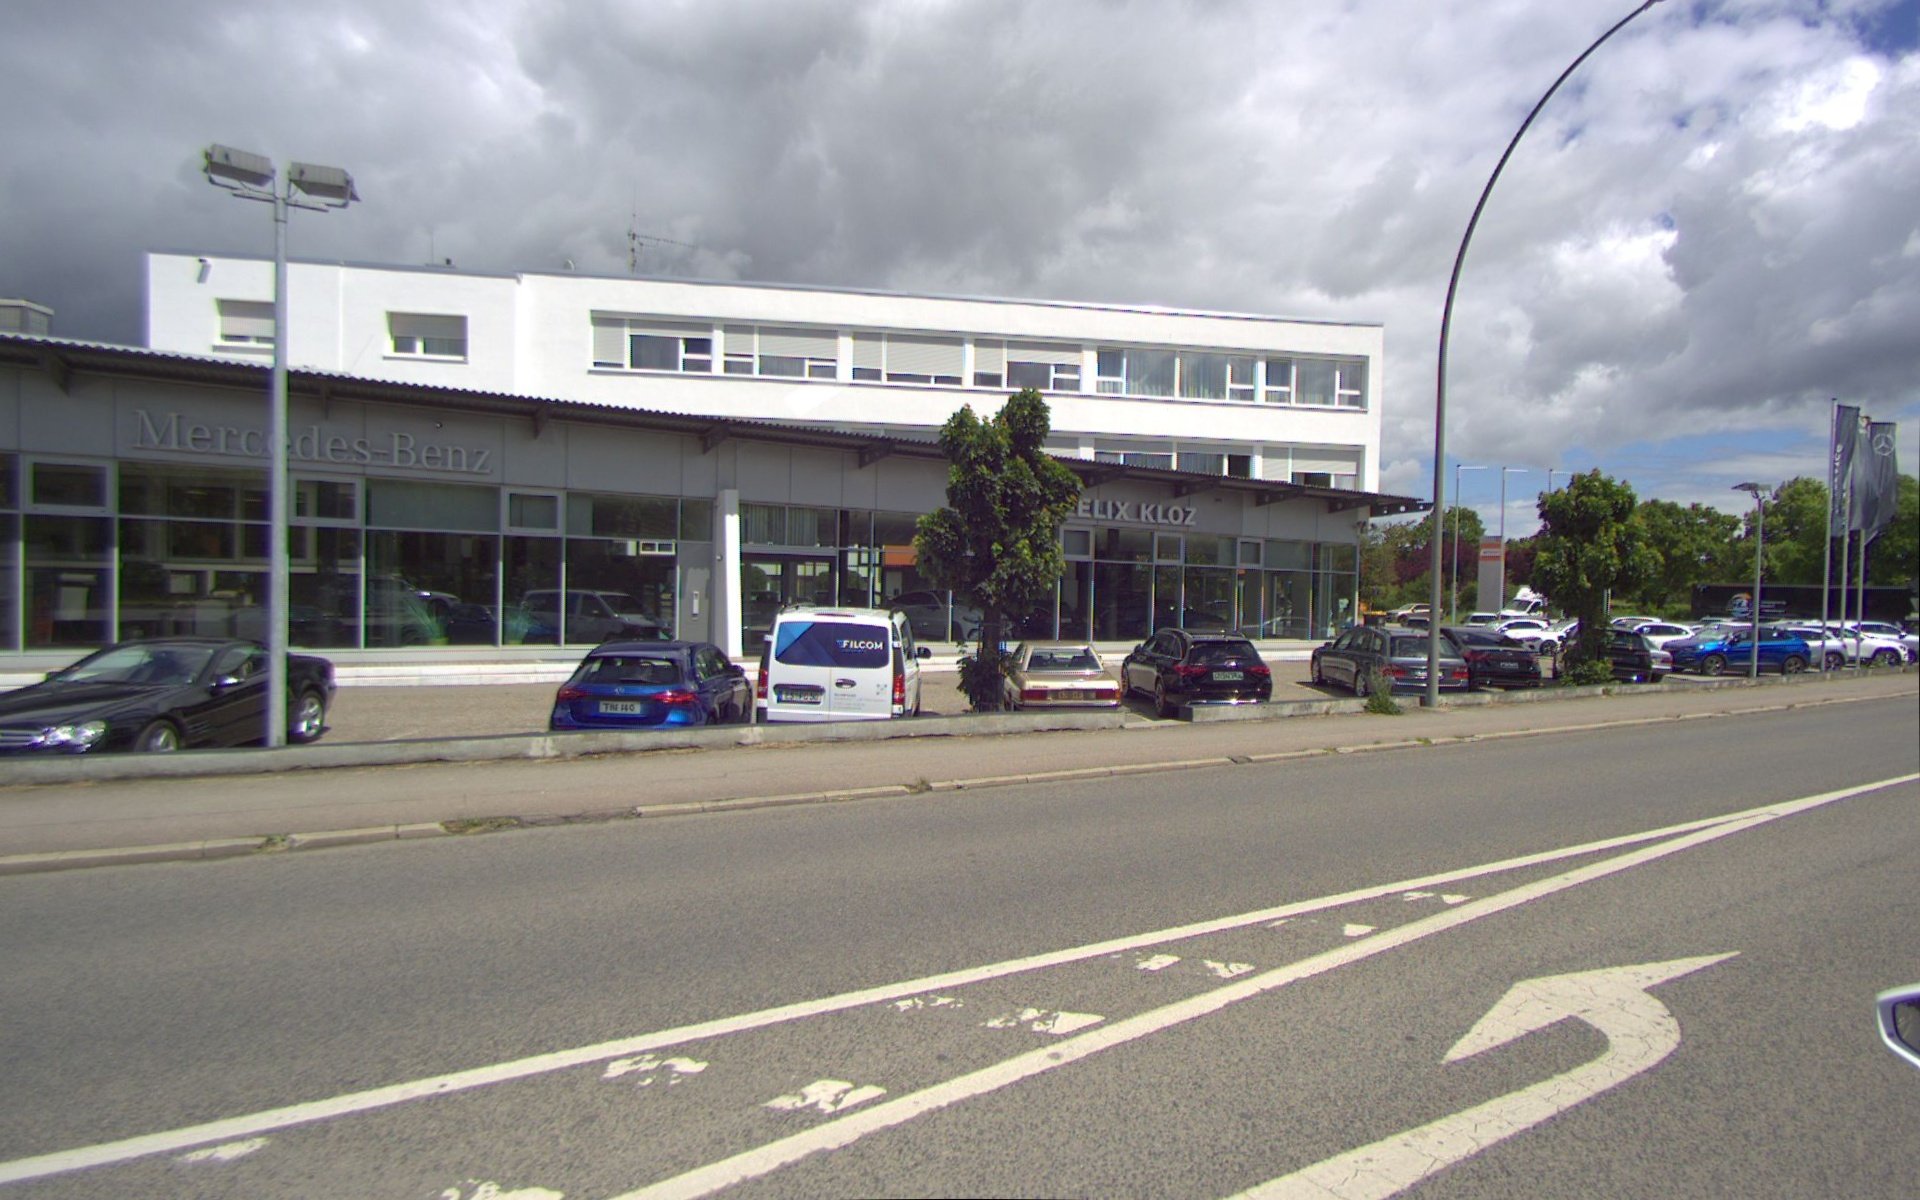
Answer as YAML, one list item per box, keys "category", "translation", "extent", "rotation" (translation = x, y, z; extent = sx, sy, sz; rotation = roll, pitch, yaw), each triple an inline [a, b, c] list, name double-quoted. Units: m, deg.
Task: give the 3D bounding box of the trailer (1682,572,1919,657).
- category: "trailer"
  translation: [44.249, 0.683, 53.433]
  extent: [9.311, 4.137, 3.308]
  rotation: [2, 0, 36]

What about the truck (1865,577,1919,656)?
- category: "truck"
  translation: [48.658, 0.862, 49.688]
  extent: [2.964, 3.874, 5.500]
  rotation: [2, 0, -43]

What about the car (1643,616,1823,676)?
- category: "car"
  translation: [25.640, 1.501, 33.423]
  extent: [4.482, 1.691, 1.893]
  rotation: [2, 2, -2]

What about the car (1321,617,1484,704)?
- category: "car"
  translation: [8.860, 1.147, 20.502]
  extent: [1.768, 1.514, 3.956]
  rotation: [1, 0, 4]

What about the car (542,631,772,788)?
- category: "car"
  translation: [-3.590, 1.232, 12.656]
  extent: [1.769, 1.445, 3.954]
  rotation: [1, 1, -1]

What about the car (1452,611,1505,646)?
- category: "car"
  translation: [25.791, 1.388, 50.084]
  extent: [1.811, 1.650, 4.000]
  rotation: [1, 0, 20]

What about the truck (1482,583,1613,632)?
- category: "truck"
  translation: [39.994, 0.496, 68.367]
  extent: [8.452, 3.090, 2.655]
  rotation: [1, 0, -17]

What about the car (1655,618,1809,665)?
- category: "car"
  translation: [29.431, 1.552, 38.394]
  extent: [4.433, 1.587, 1.873]
  rotation: [1, 2, -2]

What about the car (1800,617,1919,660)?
- category: "car"
  translation: [40.015, 1.674, 43.914]
  extent: [4.647, 1.626, 1.989]
  rotation: [2, 1, 6]

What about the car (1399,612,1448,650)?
- category: "car"
  translation: [22.673, 1.466, 49.097]
  extent: [1.772, 1.647, 3.946]
  rotation: [2, 1, 30]

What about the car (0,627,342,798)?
- category: "car"
  translation: [-8.594, 1.049, 10.817]
  extent: [1.770, 1.311, 3.950]
  rotation: [1, 1, -6]

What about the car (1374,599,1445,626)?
- category: "car"
  translation: [33.759, 0.953, 75.470]
  extent: [4.591, 1.870, 1.830]
  rotation: [2, 0, -10]

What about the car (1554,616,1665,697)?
- category: "car"
  translation: [16.666, 1.370, 25.974]
  extent: [1.770, 1.647, 4.347]
  rotation: [5, 3, 26]

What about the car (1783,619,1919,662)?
- category: "car"
  translation: [36.878, 1.632, 41.335]
  extent: [4.246, 1.485, 1.795]
  rotation: [2, 2, 24]

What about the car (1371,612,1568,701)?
- category: "car"
  translation: [11.406, 1.191, 22.937]
  extent: [2.022, 1.647, 4.635]
  rotation: [1, 1, -1]

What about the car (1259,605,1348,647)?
- category: "car"
  translation: [15.018, 1.105, 44.152]
  extent: [1.891, 1.611, 4.580]
  rotation: [3, 0, -6]

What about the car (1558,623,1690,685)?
- category: "car"
  translation: [20.470, 1.608, 31.207]
  extent: [1.768, 1.408, 4.600]
  rotation: [4, 3, 12]

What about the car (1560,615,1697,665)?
- category: "car"
  translation: [24.050, 1.437, 36.201]
  extent: [3.882, 1.647, 1.801]
  rotation: [1, 1, -9]

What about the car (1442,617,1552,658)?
- category: "car"
  translation: [23.788, 1.631, 44.579]
  extent: [3.877, 1.647, 1.804]
  rotation: [1, 1, 0]

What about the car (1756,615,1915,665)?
- category: "car"
  translation: [34.064, 1.521, 39.224]
  extent: [4.215, 1.700, 1.936]
  rotation: [2, 1, 21]

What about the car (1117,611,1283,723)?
- category: "car"
  translation: [4.195, 1.106, 18.340]
  extent: [1.769, 1.647, 4.506]
  rotation: [0, 1, -3]

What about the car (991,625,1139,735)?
- category: "car"
  translation: [1.662, 1.269, 17.401]
  extent: [1.856, 1.347, 4.462]
  rotation: [1, 2, -3]

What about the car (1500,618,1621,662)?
- category: "car"
  translation: [24.895, 1.634, 41.734]
  extent: [3.877, 1.647, 1.804]
  rotation: [1, 1, 0]

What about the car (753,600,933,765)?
- category: "car"
  translation: [-1.414, 0.978, 14.029]
  extent: [1.855, 1.863, 4.959]
  rotation: [1, -1, 1]

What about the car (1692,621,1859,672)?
- category: "car"
  translation: [28.906, 1.635, 35.692]
  extent: [4.433, 1.587, 1.873]
  rotation: [1, 2, -2]
